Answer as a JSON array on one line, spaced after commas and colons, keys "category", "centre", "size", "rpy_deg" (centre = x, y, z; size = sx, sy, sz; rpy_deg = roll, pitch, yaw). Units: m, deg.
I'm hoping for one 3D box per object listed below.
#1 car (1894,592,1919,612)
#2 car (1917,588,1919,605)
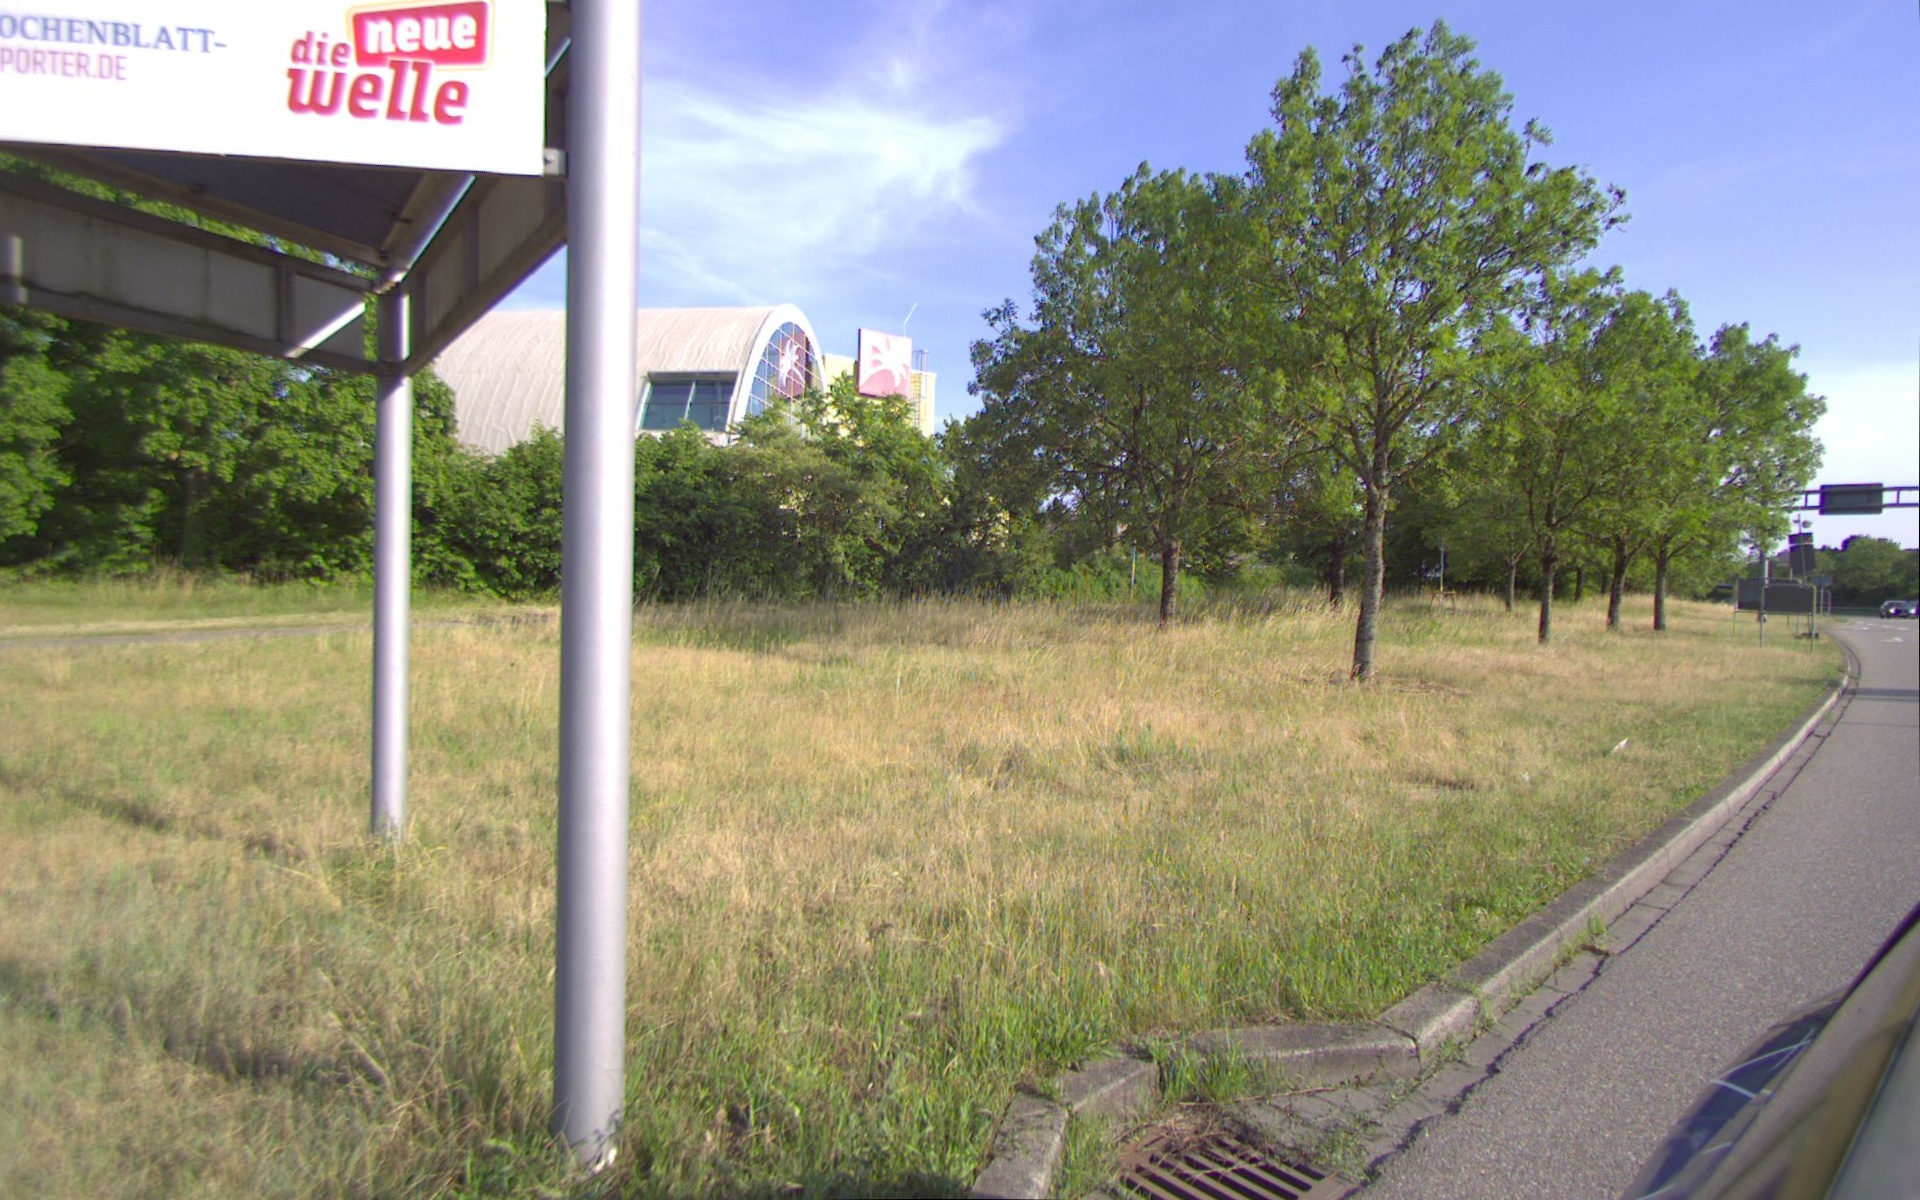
[{"category": "car", "centre": [76.507, 0.166, 81.327], "size": [1.888, 1.474, 3.853], "rpy_deg": [2, 2, 40]}, {"category": "car", "centre": [113.374, -0.378, 117.626], "size": [1.985, 2.038, 5.297], "rpy_deg": [2, 2, 32]}]
